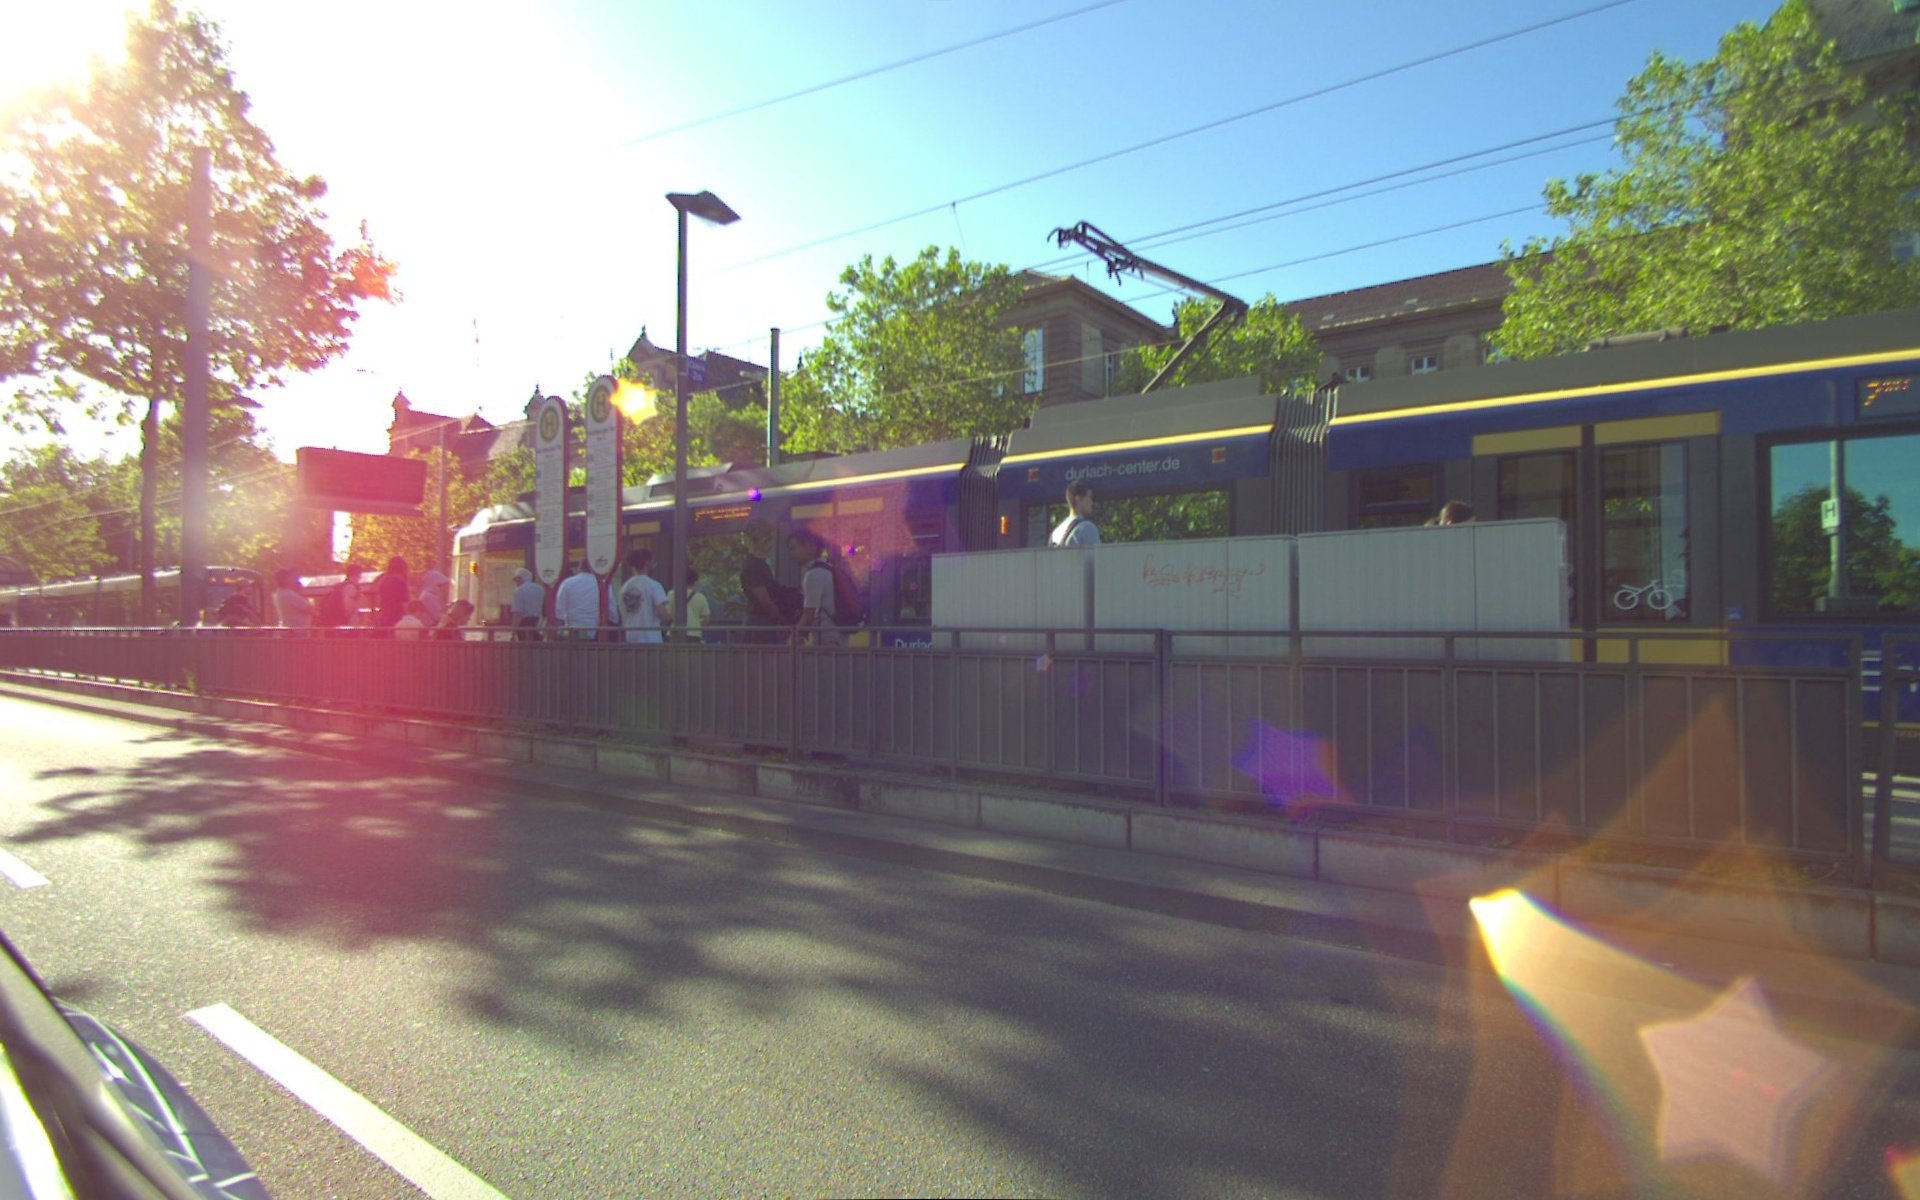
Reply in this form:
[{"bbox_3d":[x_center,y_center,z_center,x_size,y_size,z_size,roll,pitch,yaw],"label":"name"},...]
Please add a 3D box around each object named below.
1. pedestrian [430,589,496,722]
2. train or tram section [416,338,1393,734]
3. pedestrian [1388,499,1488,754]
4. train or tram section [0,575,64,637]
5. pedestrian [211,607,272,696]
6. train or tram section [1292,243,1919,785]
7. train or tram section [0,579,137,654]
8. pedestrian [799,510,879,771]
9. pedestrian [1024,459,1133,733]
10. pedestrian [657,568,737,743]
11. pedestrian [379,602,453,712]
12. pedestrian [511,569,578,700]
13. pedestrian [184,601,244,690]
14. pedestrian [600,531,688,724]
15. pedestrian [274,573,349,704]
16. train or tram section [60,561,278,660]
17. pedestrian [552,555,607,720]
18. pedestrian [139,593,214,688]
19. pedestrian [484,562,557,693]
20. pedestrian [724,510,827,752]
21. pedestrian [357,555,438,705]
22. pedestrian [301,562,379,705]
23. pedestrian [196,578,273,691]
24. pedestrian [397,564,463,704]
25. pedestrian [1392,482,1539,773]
[{"bbox_3d":[-5.118,0.568,10.423,0.506,1.326,0.412,-2,-3,36],"label":"pedestrian"},{"bbox_3d":[-2.569,-0.521,14.411,15.869,3.284,2.887,0,0,38],"label":"train or tram section"},{"bbox_3d":[3.413,0.188,7.214,0.544,1.715,0.603,-1,-3,33],"label":"pedestrian"},{"bbox_3d":[-45.600,0.438,47.470,15.651,2.584,2.538,-1,-2,38],"label":"train or tram section"},{"bbox_3d":[-10.346,0.735,14.576,0.603,1.256,0.529,-2,-3,35],"label":"pedestrian"},{"bbox_3d":[8.831,-0.543,5.626,13.093,3.284,2.887,0,0,38],"label":"train or tram section"},{"bbox_3d":[-47.764,0.954,53.330,18.249,3.460,2.844,-2,-1,38],"label":"train or tram section"},{"bbox_3d":[-0.859,0.279,7.100,0.531,1.747,0.550,0,-2,-9],"label":"pedestrian"},{"bbox_3d":[0.803,-0.016,6.836,0.538,1.747,0.543,-1,-3,33],"label":"pedestrian"},{"bbox_3d":[-2.775,0.574,10.686,0.610,1.783,0.548,-1,-3,33],"label":"pedestrian"},{"bbox_3d":[-6.109,0.632,11.370,0.530,1.201,0.540,-2,-3,37],"label":"pedestrian"},{"bbox_3d":[-5.005,0.415,12.207,0.530,1.530,0.540,-2,-3,37],"label":"pedestrian"},{"bbox_3d":[-11.269,0.680,15.287,0.603,1.309,0.529,-1,-3,34],"label":"pedestrian"},{"bbox_3d":[-2.937,0.256,9.408,0.610,1.715,0.501,-1,-3,34],"label":"pedestrian"},{"bbox_3d":[-8.443,0.499,13.182,0.570,1.646,0.654,-2,-3,38],"label":"pedestrian"},{"bbox_3d":[-33.380,0.560,42.074,18.187,3.460,2.822,-2,-1,38],"label":"train or tram section"},{"bbox_3d":[-4.127,0.403,10.969,0.498,1.715,0.613,1,-2,-25],"label":"pedestrian"},{"bbox_3d":[-13.037,0.674,16.848,0.750,1.521,0.769,-1,-3,34],"label":"pedestrian"},{"bbox_3d":[-5.737,0.360,13.224,0.621,1.662,0.613,-1,-3,33],"label":"pedestrian"},{"bbox_3d":[-1.393,0.234,7.683,0.538,1.747,0.543,-1,-3,33],"label":"pedestrian"},{"bbox_3d":[-6.666,0.355,12.002,0.570,1.709,0.654,-2,-3,38],"label":"pedestrian"},{"bbox_3d":[-7.706,0.414,12.587,0.570,1.709,0.654,-2,-3,38],"label":"pedestrian"},{"bbox_3d":[-11.695,0.551,16.316,0.721,1.766,0.769,-1,-3,34],"label":"pedestrian"},{"bbox_3d":[-6.710,0.431,12.814,0.620,1.721,0.510,-2,-3,37],"label":"pedestrian"},{"bbox_3d":[3.210,0.173,6.425,0.745,1.715,0.627,-1,-3,34],"label":"pedestrian"}]
